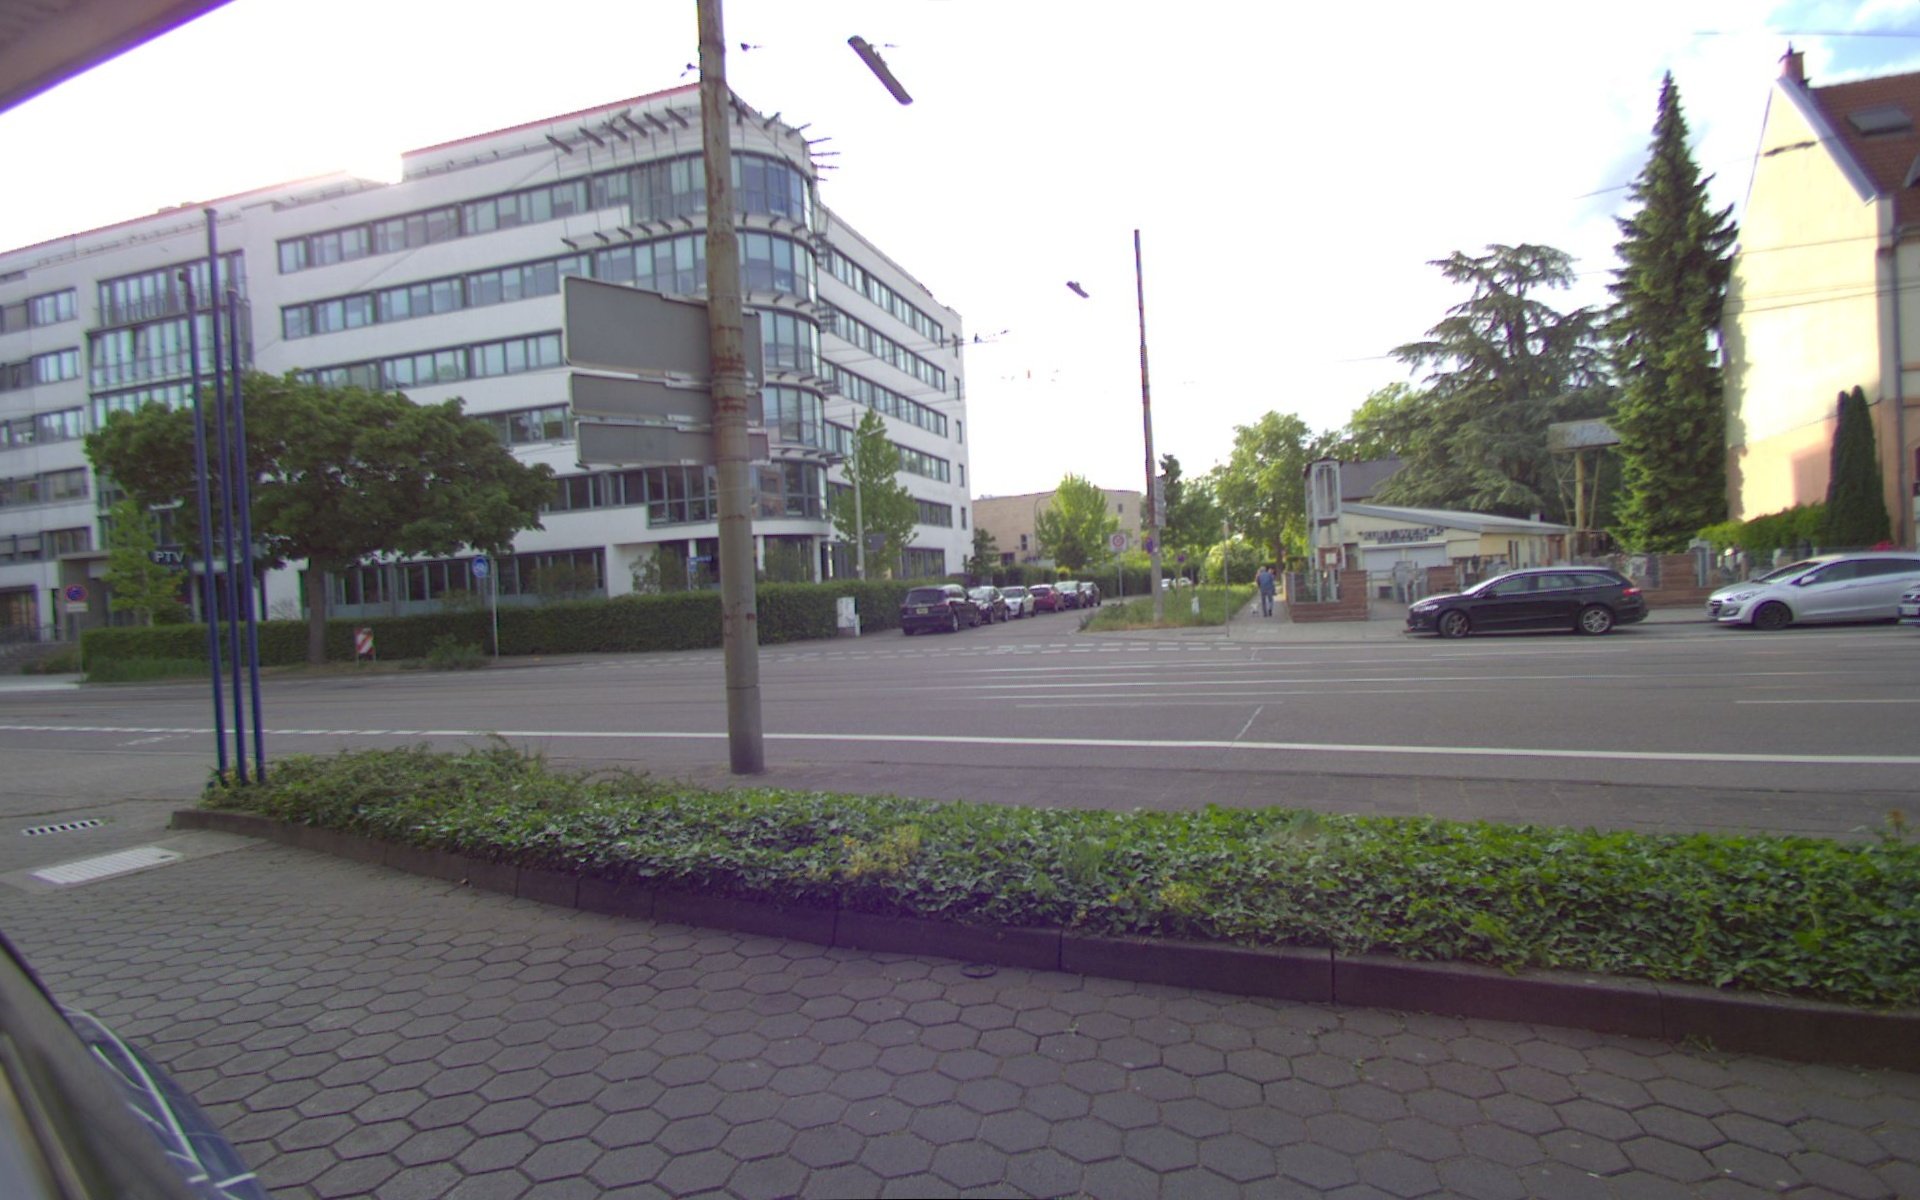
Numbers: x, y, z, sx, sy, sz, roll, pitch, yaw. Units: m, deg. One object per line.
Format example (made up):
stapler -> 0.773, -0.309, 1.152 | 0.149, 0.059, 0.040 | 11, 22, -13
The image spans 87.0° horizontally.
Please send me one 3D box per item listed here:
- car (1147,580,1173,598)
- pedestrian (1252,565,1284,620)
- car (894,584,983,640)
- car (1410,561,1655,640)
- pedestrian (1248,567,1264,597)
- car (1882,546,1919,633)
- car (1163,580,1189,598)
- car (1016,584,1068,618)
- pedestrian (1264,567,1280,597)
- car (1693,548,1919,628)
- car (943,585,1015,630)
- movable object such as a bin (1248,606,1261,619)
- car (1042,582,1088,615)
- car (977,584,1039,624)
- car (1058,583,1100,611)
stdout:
car -> 19.962, -1.132, 100.902 | 1.811, 1.654, 4.044 | -4, 0, 22
pedestrian -> 10.163, -0.264, 33.412 | 0.902, 1.712, 0.921 | -3, 2, 16
car -> -0.681, 0.359, 35.561 | 1.807, 1.701, 4.370 | -4, 1, 16
car -> 13.020, 0.008, 23.362 | 4.632, 1.533, 1.842 | -3, 2, 22
pedestrian -> 19.395, -1.168, 66.260 | 0.965, 1.896, 1.056 | -1, 0, 18
car -> 18.449, -0.283, 16.835 | 4.102, 1.480, 1.854 | -3, 0, 17
car -> 22.839, -1.153, 106.849 | 1.813, 1.654, 4.040 | -4, 0, 25
car -> 4.305, 0.024, 52.402 | 1.807, 1.589, 4.175 | -4, 0, 16
pedestrian -> 20.321, -1.182, 65.949 | 0.965, 1.896, 1.056 | -1, 0, 18
car -> 18.413, -0.269, 21.392 | 4.349, 1.493, 1.732 | -3, 1, 22
car -> 0.837, 0.272, 40.976 | 1.807, 1.589, 4.175 | -4, 0, 16
movable object such as a bin -> 10.106, 0.428, 34.720 | 0.363, 0.397, 0.660 | -2, 2, 14
car -> 6.036, -0.134, 57.799 | 1.807, 1.704, 4.392 | -4, 0, 16
car -> 2.230, 0.154, 45.680 | 1.807, 1.589, 4.175 | -4, 0, 16
car -> 7.391, -0.211, 62.565 | 1.807, 1.585, 4.052 | -4, 0, 16
